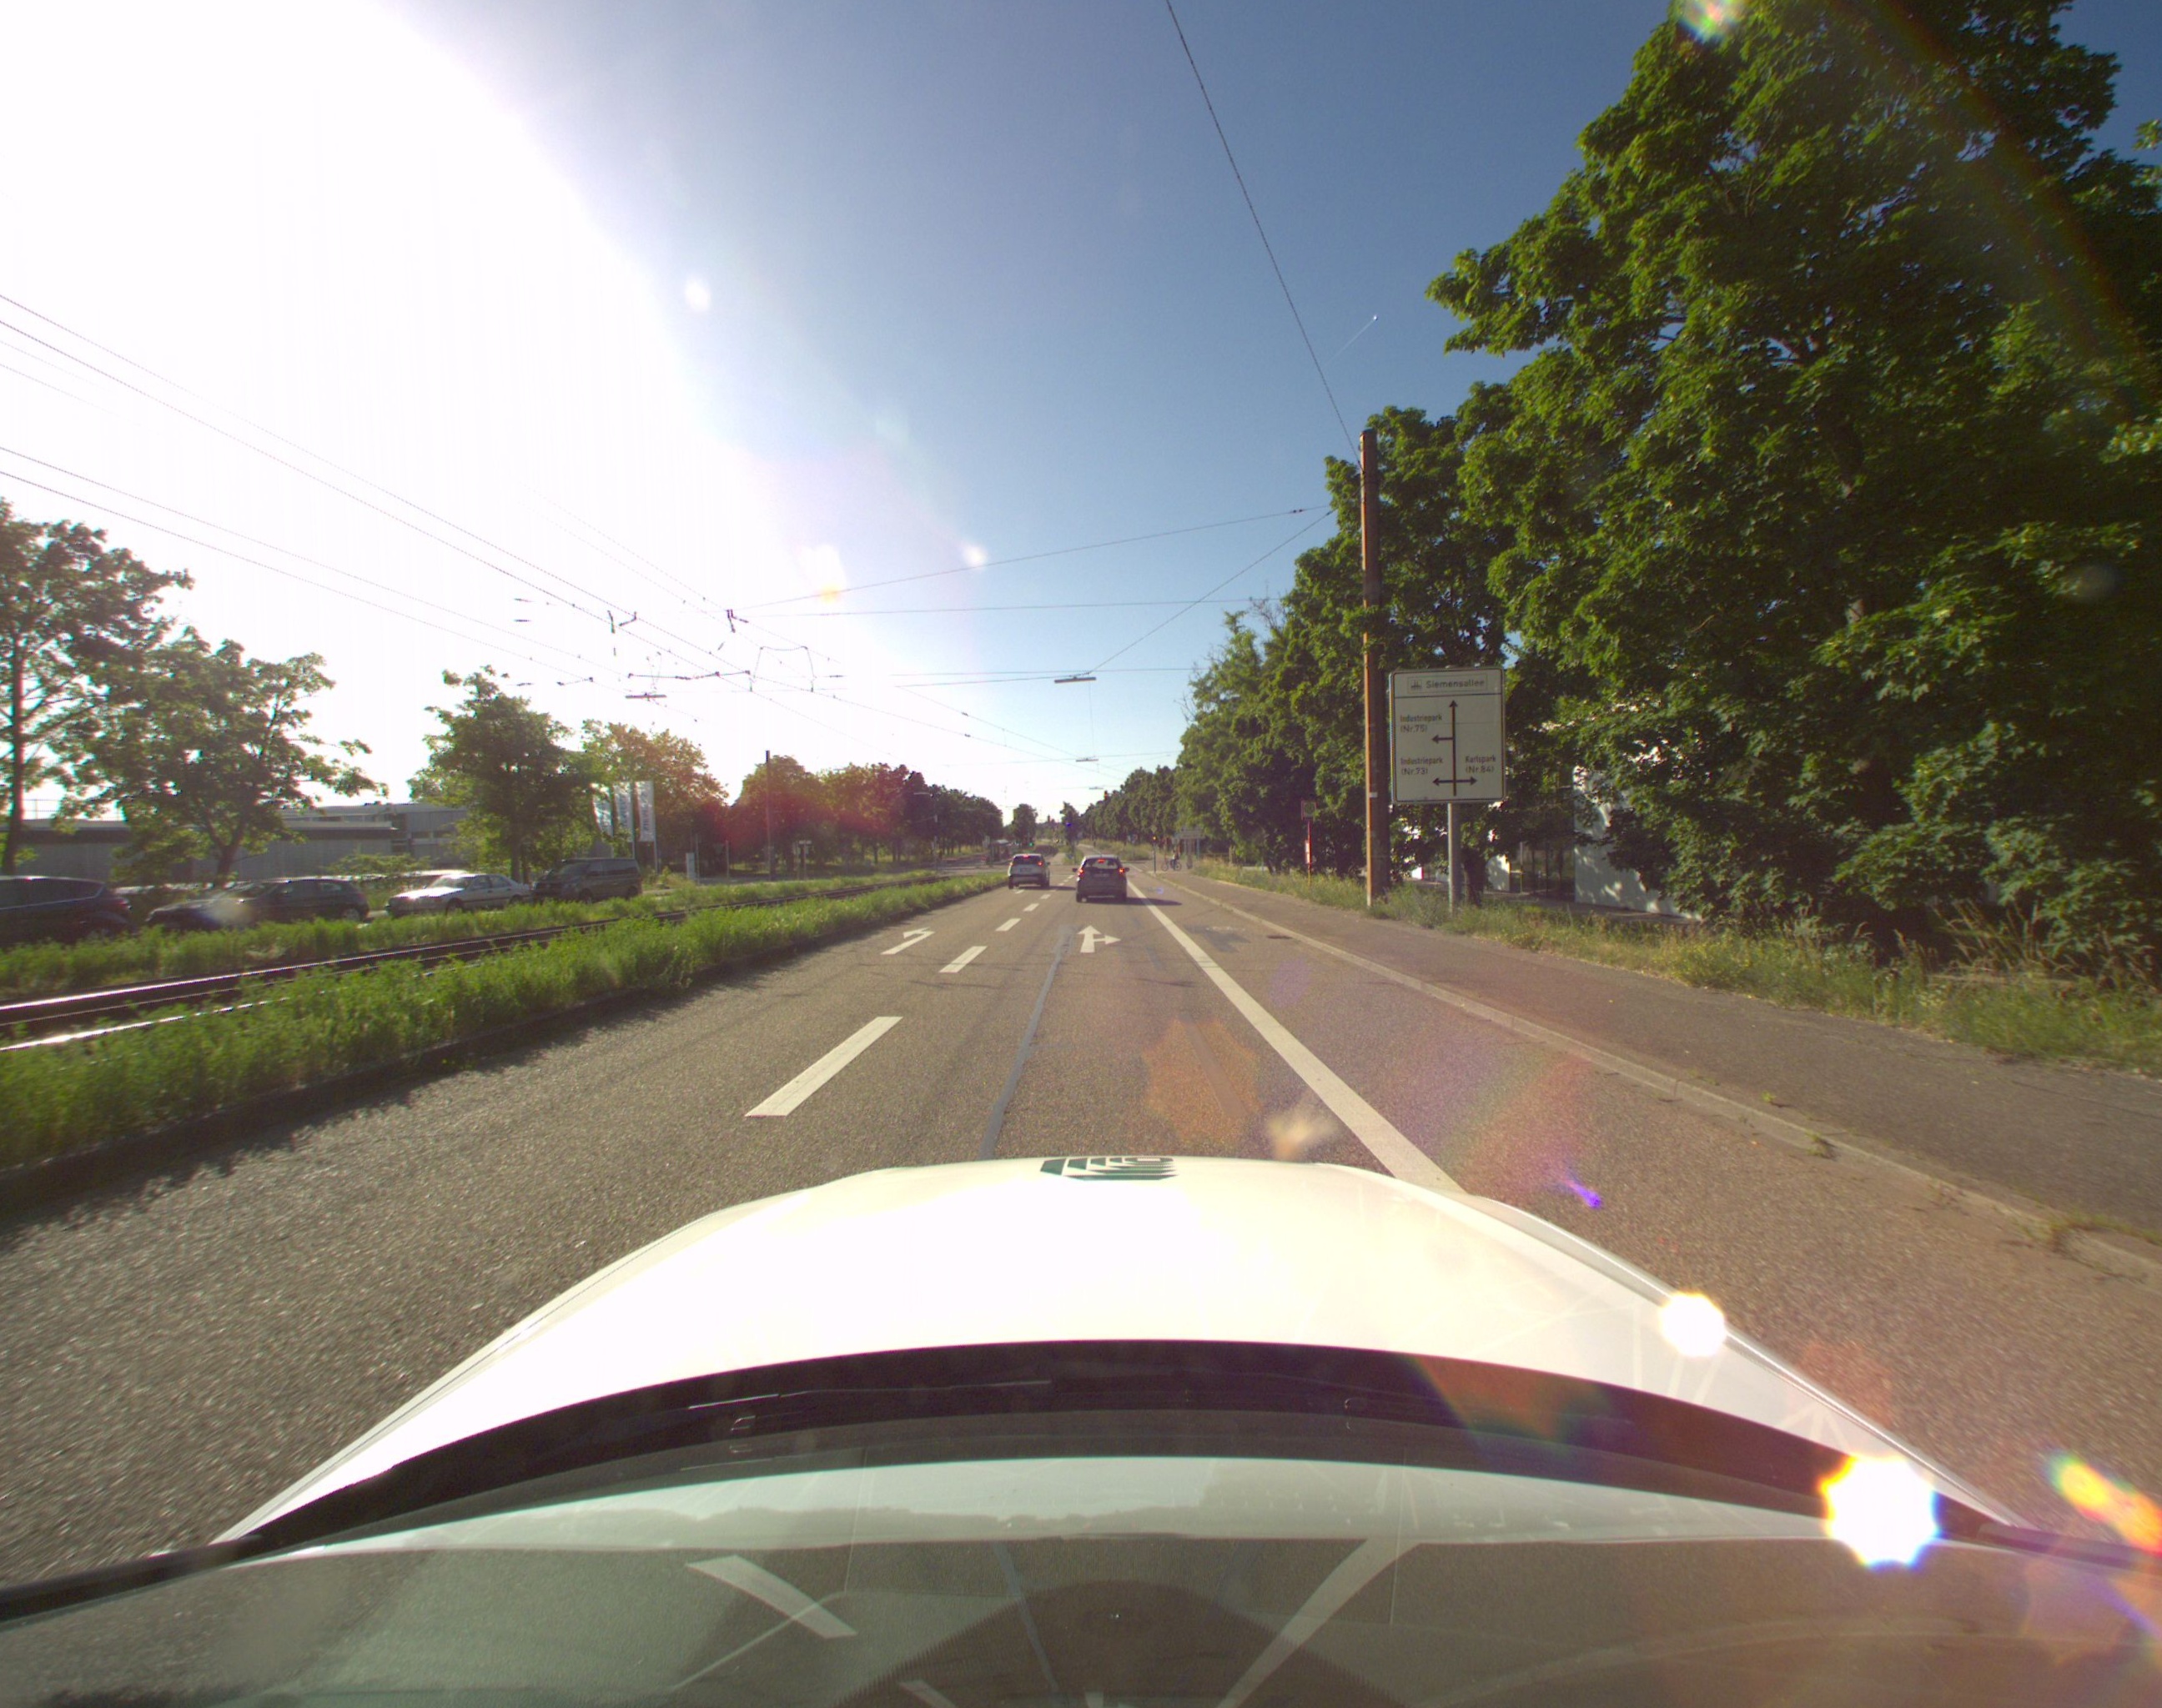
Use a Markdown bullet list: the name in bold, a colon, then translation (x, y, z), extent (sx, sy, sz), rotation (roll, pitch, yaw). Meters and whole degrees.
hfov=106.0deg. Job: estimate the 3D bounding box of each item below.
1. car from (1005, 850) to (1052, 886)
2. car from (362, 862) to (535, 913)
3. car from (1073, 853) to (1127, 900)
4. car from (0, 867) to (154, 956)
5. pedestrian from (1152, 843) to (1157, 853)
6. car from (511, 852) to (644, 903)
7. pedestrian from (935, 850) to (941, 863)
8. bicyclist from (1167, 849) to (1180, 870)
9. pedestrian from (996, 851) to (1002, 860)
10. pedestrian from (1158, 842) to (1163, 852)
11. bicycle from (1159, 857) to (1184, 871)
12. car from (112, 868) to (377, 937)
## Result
- **car**: translation (-2.419, 0.627, 38.656), extent (1.844, 1.606, 4.255), rotation (-1, 0, 1)
- **car**: translation (-20.596, 1.044, 26.848), extent (1.921, 1.437, 4.696), rotation (-1, 0, 2)
- **car**: translation (0.692, 0.709, 27.848), extent (1.700, 1.509, 4.002), rotation (0, 0, 2)
- **car**: translation (-20.683, 1.090, 15.046), extent (1.987, 1.574, 4.434), rotation (-1, 0, 0)
- **pedestrian**: translation (11.062, -0.897, 122.542), extent (0.565, 1.596, 0.665), rotation (0, 0, -2)
- **car**: translation (-20.354, 0.896, 33.219), extent (2.187, 1.891, 4.795), rotation (-1, 0, 3)
- **pedestrian**: translation (-23.687, 0.419, 134.909), extent (0.837, 2.013, 0.863), rotation (-1, 0, 0)
- **bicyclist**: translation (7.639, 0.443, 67.153), extent (0.904, 1.745, 0.767), rotation (-2, -1, 12)
- **pedestrian**: translation (-11.504, 0.204, 113.849), extent (0.718, 1.246, 0.710), rotation (-2, 0, -1)
- **pedestrian**: translation (11.918, -1.064, 122.500), extent (0.676, 1.610, 0.720), rotation (0, 0, -1)
- **bicycle**: translation (7.447, 0.822, 67.194), extent (1.907, 0.998, 0.767), rotation (-3, -1, 12)
- **car**: translation (-20.686, 1.131, 20.485), extent (1.986, 1.437, 4.416), rotation (-1, 0, 2)
